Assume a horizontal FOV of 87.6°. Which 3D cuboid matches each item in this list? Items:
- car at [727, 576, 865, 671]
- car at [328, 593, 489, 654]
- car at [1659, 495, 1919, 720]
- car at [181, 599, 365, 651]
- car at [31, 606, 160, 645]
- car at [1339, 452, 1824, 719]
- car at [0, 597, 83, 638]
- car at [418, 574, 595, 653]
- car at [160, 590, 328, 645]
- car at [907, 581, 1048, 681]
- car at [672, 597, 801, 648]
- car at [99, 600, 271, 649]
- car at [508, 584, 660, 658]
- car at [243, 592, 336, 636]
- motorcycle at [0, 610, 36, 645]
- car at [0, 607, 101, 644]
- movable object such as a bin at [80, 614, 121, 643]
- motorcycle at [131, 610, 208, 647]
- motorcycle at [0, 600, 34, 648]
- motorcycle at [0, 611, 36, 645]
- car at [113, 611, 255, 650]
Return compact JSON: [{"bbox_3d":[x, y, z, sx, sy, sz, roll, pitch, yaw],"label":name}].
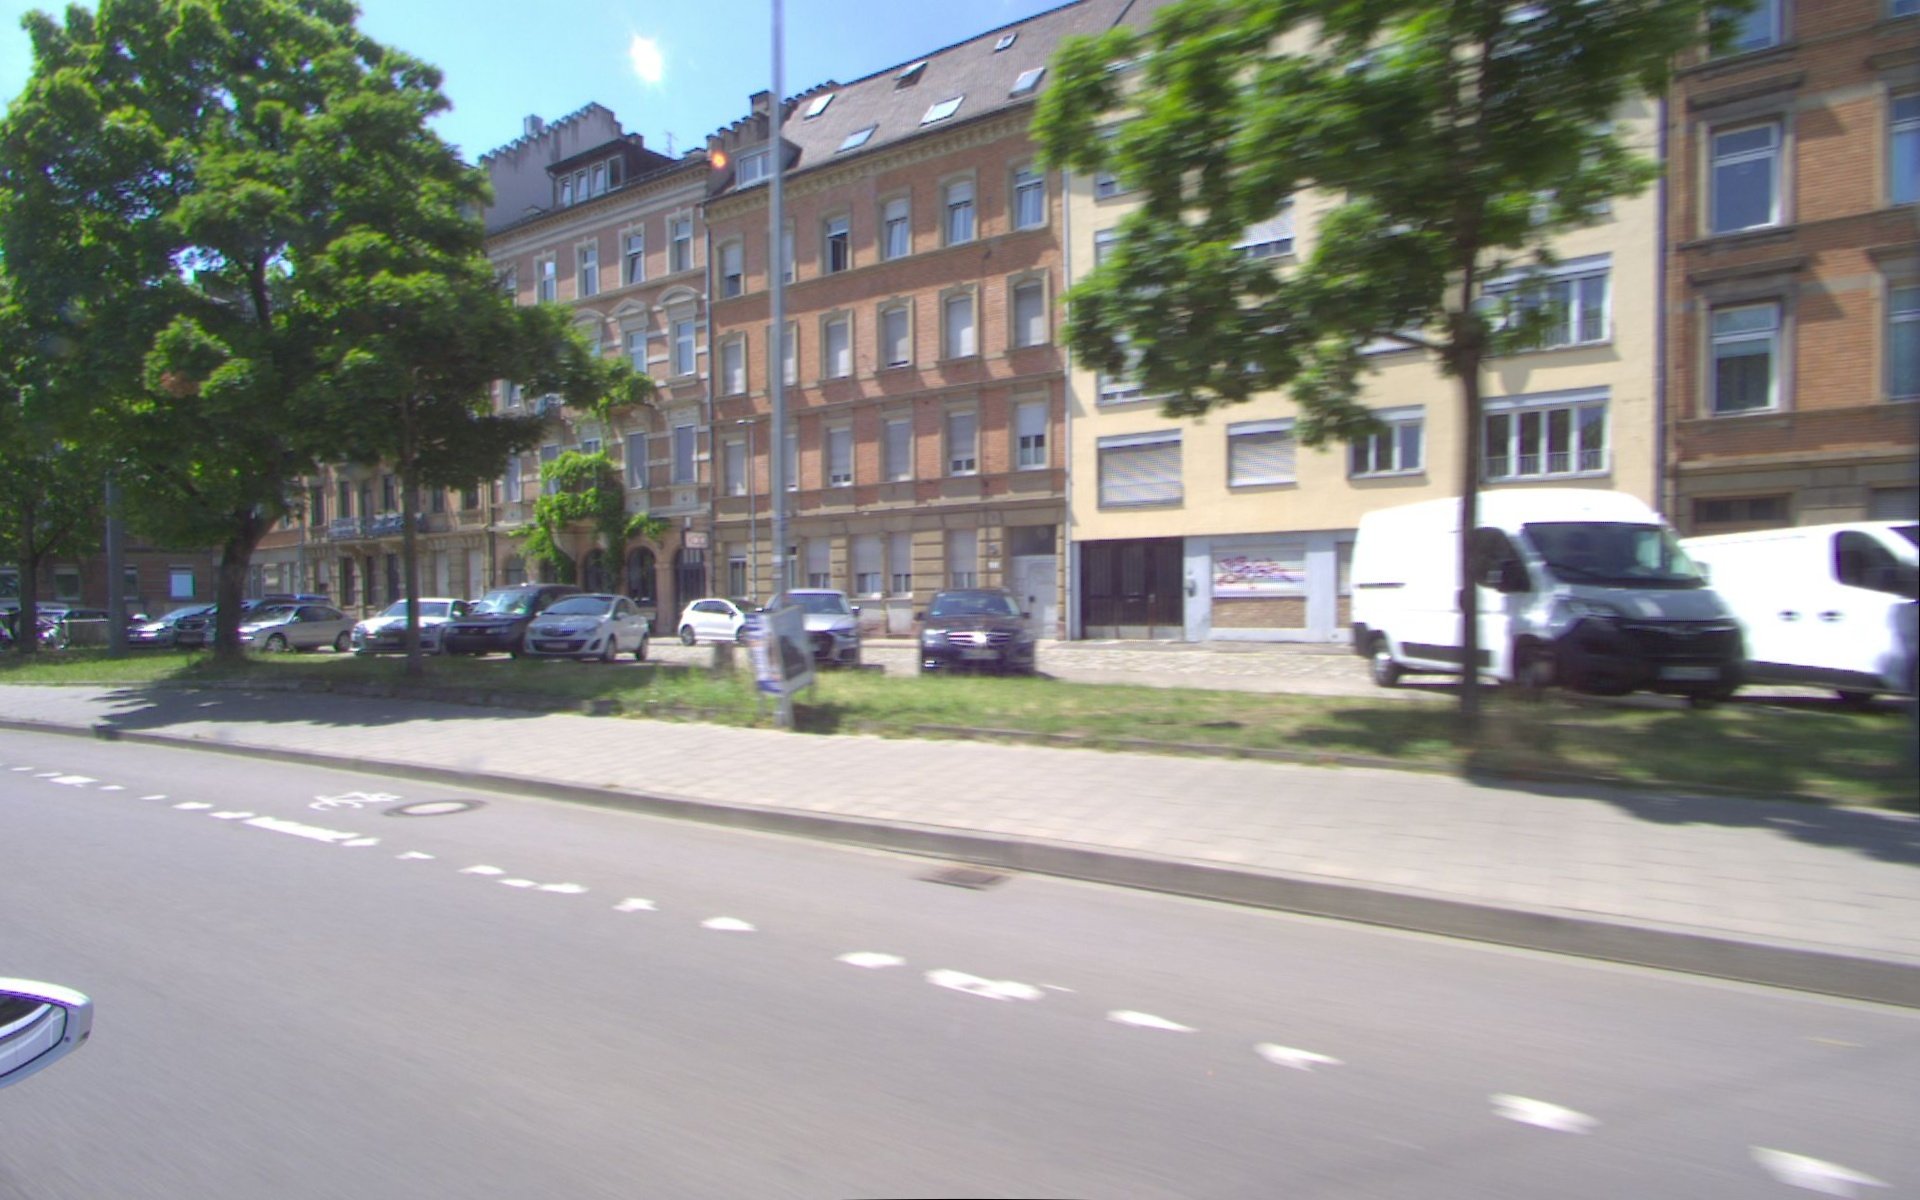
[{"bbox_3d":[-2.735,0.423,17.684,1.934,1.446,4.693,0,-1,-4],"label":"car"},{"bbox_3d":[-13.167,0.575,24.272,2.110,1.330,4.784,0,-1,-12],"label":"car"},{"bbox_3d":[9.645,0.102,10.107,2.036,1.998,4.849,0,-1,4],"label":"car"},{"bbox_3d":[-18.865,0.682,27.752,1.935,1.330,3.999,0,-1,11],"label":"car"},{"bbox_3d":[-33.943,1.018,39.444,1.576,1.451,3.870,0,-1,4],"label":"car"},{"bbox_3d":[6.900,-0.063,12.169,2.194,2.492,5.553,0,-1,-4],"label":"car"},{"bbox_3d":[-38.605,0.718,40.423,1.800,1.621,4.875,0,-1,6],"label":"car"},{"bbox_3d":[-10.383,0.337,23.286,1.934,1.683,4.000,0,-1,7],"label":"car"},{"bbox_3d":[-20.930,0.532,29.512,1.763,1.488,4.093,0,-1,6],"label":"car"},{"bbox_3d":[0.273,0.479,15.879,1.934,1.355,4.433,0,-1,1],"label":"car"},{"bbox_3d":[-6.789,0.682,30.357,3.663,1.438,1.776,-1,-1,32],"label":"car"},{"bbox_3d":[-23.550,0.749,30.660,1.552,1.394,4.349,0,-1,7],"label":"car"},{"bbox_3d":[-7.861,0.461,21.343,1.679,1.418,4.001,0,-1,1],"label":"car"},{"bbox_3d":[-30.562,0.654,45.600,4.589,1.928,1.915,-1,-1,34],"label":"car"},{"bbox_3d":[-31.415,0.897,32.884,0.471,1.135,1.517,0,-1,32],"label":"motorcycle"},{"bbox_3d":[-36.401,0.998,39.268,1.725,1.349,4.001,0,-1,6],"label":"car"},{"bbox_3d":[-28.713,0.957,33.443,0.694,0.949,0.980,-1,-1,44],"label":"movable object such as a bin"},{"bbox_3d":[-27.478,0.994,34.807,2.063,1.252,0.805,1,-1,-42],"label":"motorcycle"},{"bbox_3d":[-29.093,0.722,30.662,1.831,1.432,0.673,0,1,35],"label":"motorcycle"},{"bbox_3d":[-32.278,0.946,33.574,0.519,1.135,1.822,0,-1,26],"label":"motorcycle"},{"bbox_3d":[-29.182,1.128,37.736,1.934,1.394,3.969,-1,-2,40],"label":"car"}]
